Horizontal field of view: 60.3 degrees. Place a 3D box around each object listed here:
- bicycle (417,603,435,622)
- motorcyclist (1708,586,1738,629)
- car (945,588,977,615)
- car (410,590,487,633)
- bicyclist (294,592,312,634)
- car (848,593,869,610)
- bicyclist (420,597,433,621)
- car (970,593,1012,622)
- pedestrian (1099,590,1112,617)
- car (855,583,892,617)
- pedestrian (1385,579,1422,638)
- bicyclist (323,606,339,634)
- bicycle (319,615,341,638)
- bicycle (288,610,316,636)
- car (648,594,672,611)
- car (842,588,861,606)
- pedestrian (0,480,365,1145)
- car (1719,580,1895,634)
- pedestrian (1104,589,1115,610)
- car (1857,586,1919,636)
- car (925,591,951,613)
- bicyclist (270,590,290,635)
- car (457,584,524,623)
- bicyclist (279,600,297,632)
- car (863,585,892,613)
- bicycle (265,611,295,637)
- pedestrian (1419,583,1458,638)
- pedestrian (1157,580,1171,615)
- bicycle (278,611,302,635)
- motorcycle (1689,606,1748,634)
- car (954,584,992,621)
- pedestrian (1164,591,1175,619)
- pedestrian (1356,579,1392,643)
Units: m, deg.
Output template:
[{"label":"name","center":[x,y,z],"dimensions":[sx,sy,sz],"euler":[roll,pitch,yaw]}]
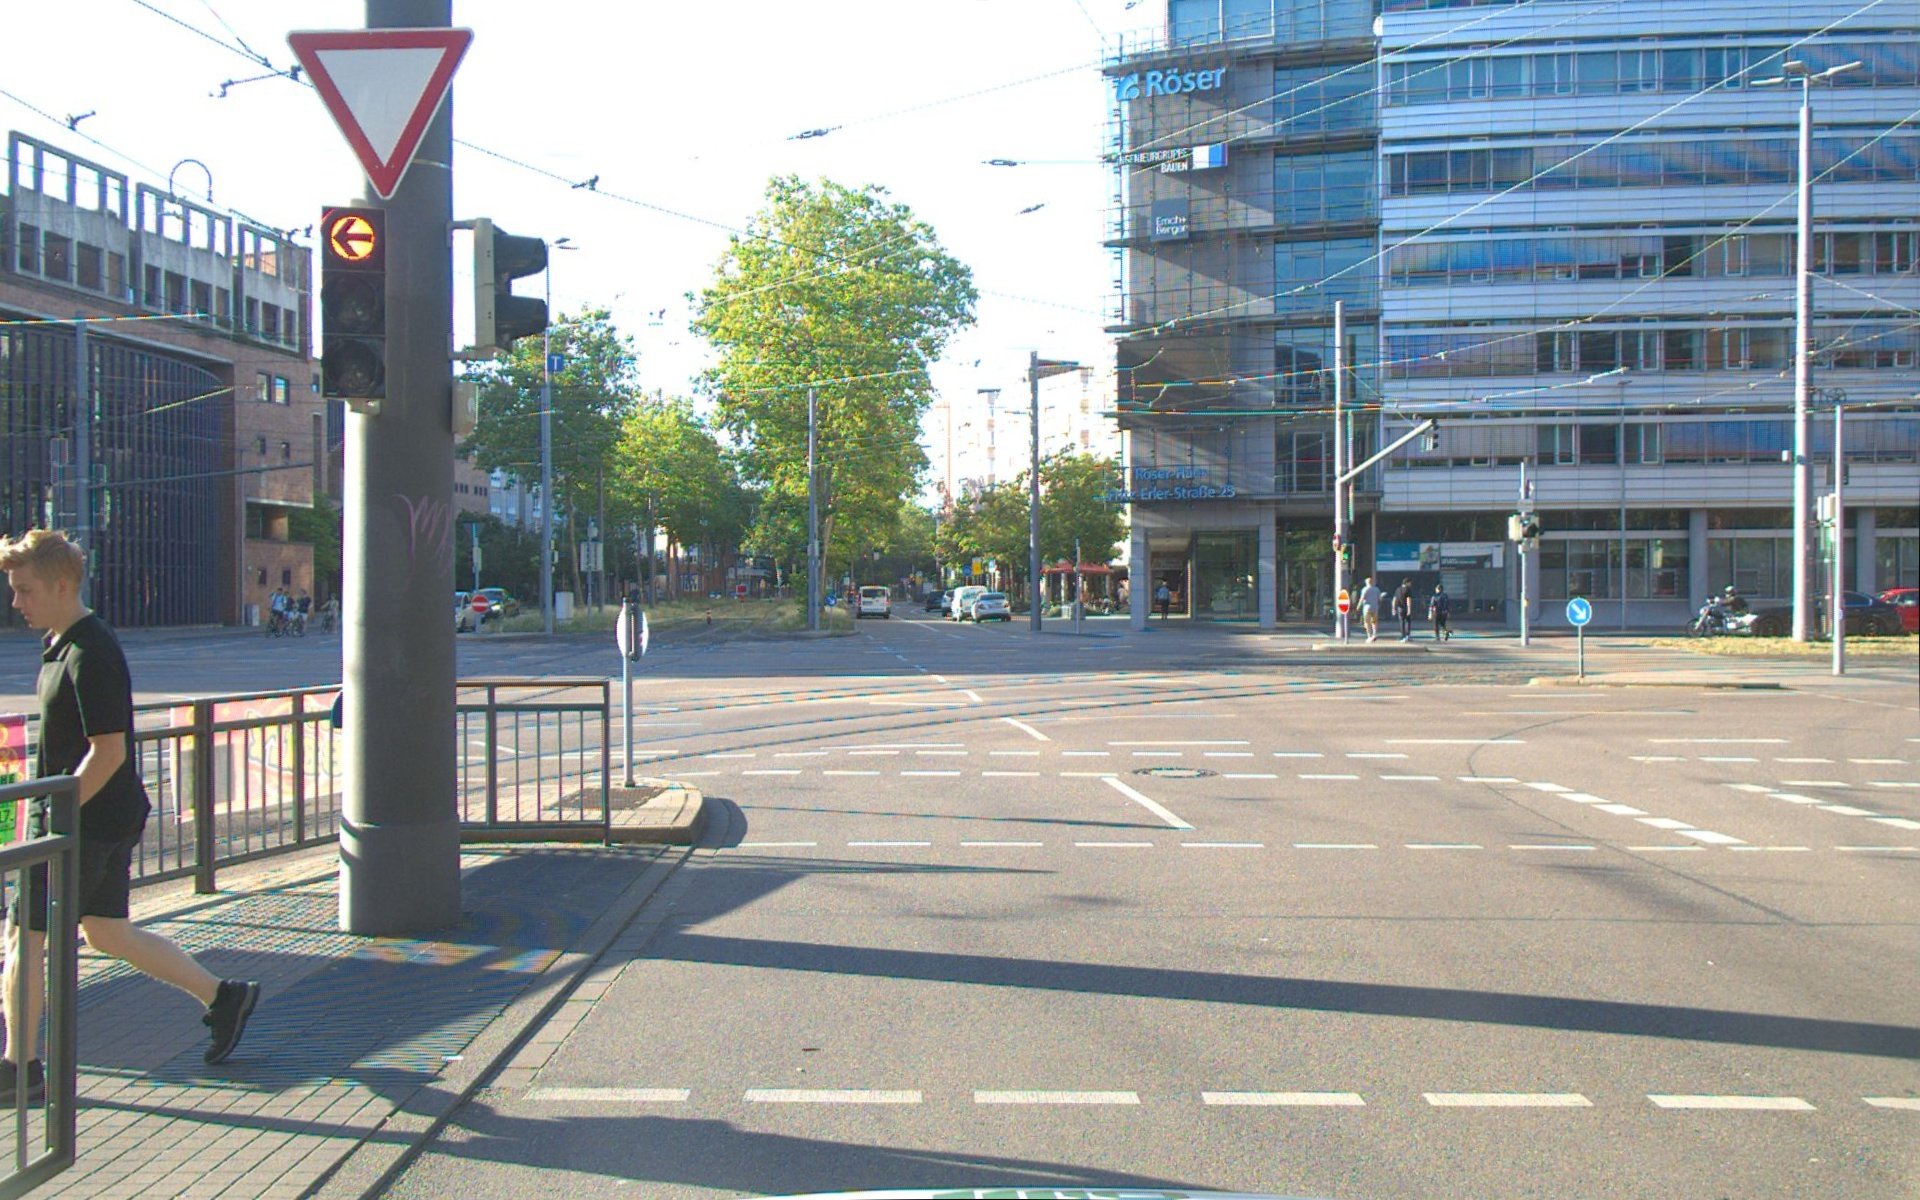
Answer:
[{"label":"bicycle","center":[-28.387,0.683,88.008],"dimensions":[0.482,0.980,1.486],"euler":[-1,0,-1]},{"label":"motorcyclist","center":[22.982,0.223,49.814],"dimensions":[0.697,1.298,0.460],"euler":[-1,0,3]},{"label":"car","center":[0.027,0.074,105.203],"dimensions":[1.953,1.646,3.999],"euler":[-1,0,-1]},{"label":"car","center":[-20.674,0.444,67.027],"dimensions":[1.953,1.668,3.999],"euler":[-1,0,-2]},{"label":"bicyclist","center":[-25.951,0.517,65.308],"dimensions":[0.449,1.631,0.581],"euler":[-1,0,-1]},{"label":"car","center":[-8.973,0.159,146.967],"dimensions":[1.762,1.467,3.998],"euler":[1,0,-3]},{"label":"bicyclist","center":[-28.360,0.467,87.915],"dimensions":[0.495,1.232,0.581],"euler":[-1,0,-1]},{"label":"car","center":[1.529,0.339,82.781],"dimensions":[1.953,1.400,3.999],"euler":[-1,0,-1]},{"label":"pedestrian","center":[9.245,0.217,105.002],"dimensions":[0.729,1.744,0.612],"euler":[-1,0,-1]},{"label":"car","center":[-5.036,-0.011,97.118],"dimensions":[1.921,1.881,5.329],"euler":[-1,0,-1]},{"label":"pedestrian","center":[13.130,0.247,49.006],"dimensions":[0.893,1.714,1.036],"euler":[-1,0,6]},{"label":"bicyclist","center":[-27.047,0.847,71.129],"dimensions":[0.495,1.199,0.581],"euler":[-1,0,-1]},{"label":"bicycle","center":[-27.045,1.134,70.972],"dimensions":[0.442,0.980,1.347],"euler":[-1,0,-1]},{"label":"bicycle","center":[-25.959,0.895,65.265],"dimensions":[0.463,0.980,1.575],"euler":[-1,0,-1]},{"label":"car","center":[-33.390,0.295,184.317],"dimensions":[1.953,1.847,3.999],"euler":[-1,0,-1]},{"label":"car","center":[-12.557,-0.405,191.954],"dimensions":[1.953,2.049,3.999],"euler":[-1,0,-1]},{"label":"pedestrian","center":[-2.478,0.566,4.999],"dimensions":[1.083,1.779,0.731],"euler":[0,0,-43]},{"label":"car","center":[23.981,0.193,46.945],"dimensions":[4.070,1.423,1.786],"euler":[-1,0,4]},{"label":"pedestrian","center":[9.596,-0.036,106.230],"dimensions":[0.565,1.311,0.910],"euler":[-1,0,-1]},{"label":"car","center":[29.336,0.276,49.539],"dimensions":[3.903,1.418,1.786],"euler":[-2,0,4]},{"label":"car","center":[-1.689,0.135,126.626],"dimensions":[1.953,1.646,3.999],"euler":[-1,0,-1]},{"label":"bicyclist","center":[-26.790,0.478,65.147],"dimensions":[0.525,1.761,0.581],"euler":[-1,0,-1]},{"label":"car","center":[-21.128,0.145,74.585],"dimensions":[1.953,1.668,3.999],"euler":[-1,0,-2]},{"label":"bicyclist","center":[-27.692,0.656,68.149],"dimensions":[0.495,1.327,0.581],"euler":[-1,0,-1]},{"label":"car","center":[-5.899,-0.085,118.764],"dimensions":[1.953,1.945,3.999],"euler":[-1,0,-1]},{"label":"bicycle","center":[-26.793,0.940,65.145],"dimensions":[0.531,0.980,1.586],"euler":[-1,0,-1]},{"label":"pedestrian","center":[13.888,0.295,48.035],"dimensions":[0.928,1.591,0.897],"euler":[-1,0,6]},{"label":"pedestrian","center":[9.001,-0.109,73.018],"dimensions":[0.599,1.534,0.579],"euler":[-1,0,9]},{"label":"bicycle","center":[-27.680,0.942,68.299],"dimensions":[0.458,0.980,1.320],"euler":[-1,0,-1]},{"label":"motorcycle","center":[22.873,0.612,49.884],"dimensions":[1.535,0.824,0.467],"euler":[-1,0,3]},{"label":"car","center":[0.680,0.119,89.566],"dimensions":[1.953,1.892,3.999],"euler":[-1,0,-1]},{"label":"pedestrian","center":[11.668,0.286,91.961],"dimensions":[0.599,1.534,0.579],"euler":[-1,0,7]},{"label":"pedestrian","center":[11.997,0.321,47.961],"dimensions":[0.845,1.820,0.872],"euler":[-1,0,1]}]
